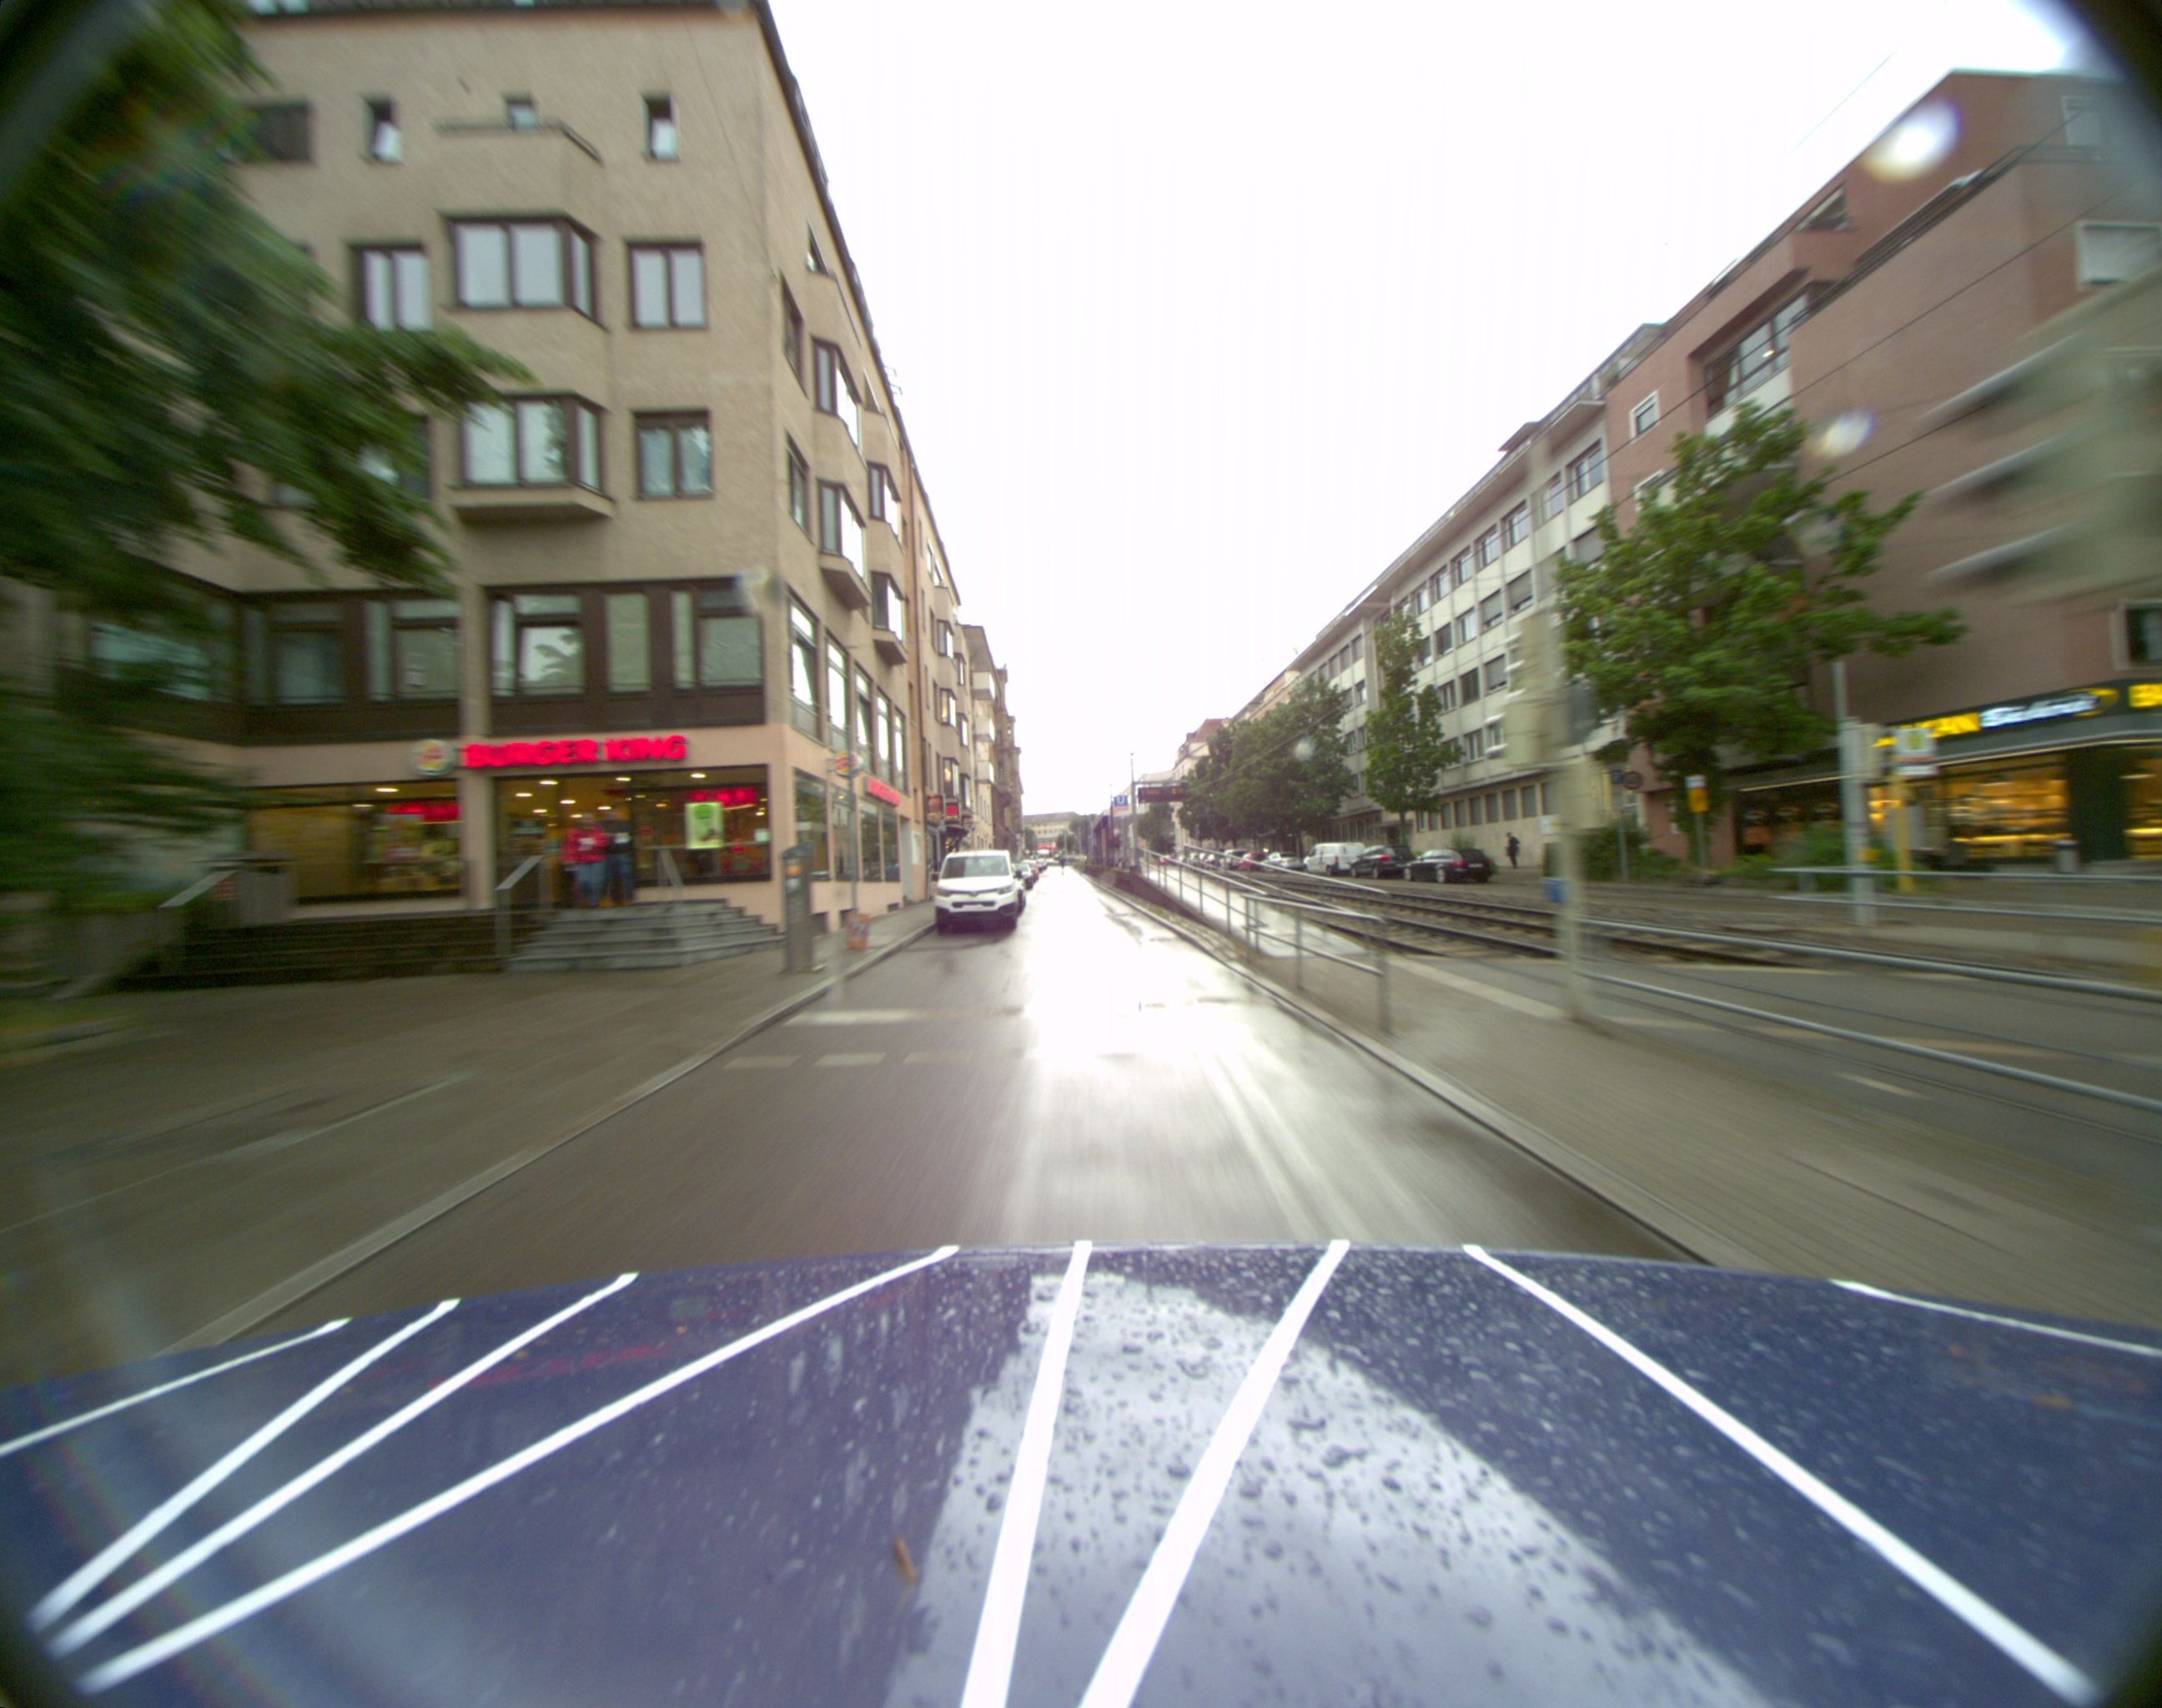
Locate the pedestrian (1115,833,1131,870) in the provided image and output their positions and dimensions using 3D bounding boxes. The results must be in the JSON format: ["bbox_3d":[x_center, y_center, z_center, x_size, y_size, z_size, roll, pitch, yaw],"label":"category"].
[{"bbox_3d":[1.885,-0.115,33.951,0.585,1.600,0.700,-2,1,-4],"label":"pedestrian"}]

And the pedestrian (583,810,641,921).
[{"bbox_3d":[-7.939,0.194,12.862,0.665,1.809,0.597,-1,1,39],"label":"pedestrian"}]

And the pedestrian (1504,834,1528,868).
[{"bbox_3d":[20.137,-0.158,35.184,0.701,1.548,0.585,-2,1,-8],"label":"pedestrian"}]

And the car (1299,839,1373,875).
[{"bbox_3d":[14.247,0.153,42.790,1.913,1.834,5.255,-2,0,-6],"label":"car"}]

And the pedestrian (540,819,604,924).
[{"bbox_3d":[-8.243,0.269,12.302,0.723,1.640,0.627,-1,1,39],"label":"pedestrian"}]

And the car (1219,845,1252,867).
[{"bbox_3d":[13.322,0.187,65.872,1.678,1.806,4.431,-2,0,-3],"label":"car"}]

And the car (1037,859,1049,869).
[{"bbox_3d":[-5.154,1.336,102.160,1.588,1.343,3.976,-2,0,-3],"label":"car"}]

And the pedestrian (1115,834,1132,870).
[{"bbox_3d":[1.860,-0.090,33.240,0.585,1.548,0.700,-2,1,-4],"label":"pedestrian"}]

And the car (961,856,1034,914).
[{"bbox_3d":[-2.584,0.915,24.426,1.911,1.606,4.412,-2,0,-1],"label":"car"}]

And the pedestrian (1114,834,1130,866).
[{"bbox_3d":[2.159,-0.211,40.322,0.713,1.684,0.700,-2,1,-4],"label":"pedestrian"}]

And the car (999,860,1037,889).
[{"bbox_3d":[-3.441,1.087,42.071,1.912,1.453,4.244,-2,0,-2],"label":"car"}]

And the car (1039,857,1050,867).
[{"bbox_3d":[-5.610,1.249,116.991,1.588,1.442,3.977,-2,0,-2],"label":"car"}]

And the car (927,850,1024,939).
[{"bbox_3d":[-2.409,0.845,18.408,1.912,1.796,4.775,-2,0,-4],"label":"car"}]

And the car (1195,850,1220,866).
[{"bbox_3d":[12.691,0.384,76.501,1.643,1.529,4.021,-2,0,-2],"label":"car"}]

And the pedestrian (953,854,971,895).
[{"bbox_3d":[-4.985,0.863,31.869,0.612,1.704,0.581,-2,1,-1],"label":"pedestrian"}]

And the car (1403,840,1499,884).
[{"bbox_3d":[14.831,0.296,30.745,1.643,1.614,4.370,-2,0,-1],"label":"car"}]

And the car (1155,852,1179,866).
[{"bbox_3d":[9.473,0.555,83.808,1.697,1.453,4.528,-2,0,-5],"label":"car"}]

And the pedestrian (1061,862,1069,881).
[{"bbox_3d":[-1.563,1.675,72.260,0.653,1.752,0.882,-2,1,-6],"label":"pedestrian"}]

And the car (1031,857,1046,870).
[{"bbox_3d":[-4.762,1.085,84.881,1.628,1.343,3.828,-2,0,-3],"label":"car"}]

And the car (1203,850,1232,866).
[{"bbox_3d":[12.826,0.338,71.642,1.643,1.432,4.728,-2,0,-3],"label":"car"}]

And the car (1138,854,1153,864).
[{"bbox_3d":[9.202,0.663,108.978,1.643,1.330,3.734,-2,0,-3],"label":"car"}]

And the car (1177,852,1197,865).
[{"bbox_3d":[12.371,0.483,88.814,1.718,1.367,4.456,-2,0,-1],"label":"car"}]

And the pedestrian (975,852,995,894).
[{"bbox_3d":[-4.166,0.811,33.006,0.758,1.808,0.588,-2,1,-1],"label":"pedestrian"}]

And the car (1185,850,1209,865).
[{"bbox_3d":[12.635,0.355,83.004,1.662,1.575,4.337,-2,0,-3],"label":"car"}]

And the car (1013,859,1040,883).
[{"bbox_3d":[-3.671,1.116,51.521,1.650,1.453,3.413,-2,0,-2],"label":"car"}]

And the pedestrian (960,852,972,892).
[{"bbox_3d":[-5.390,0.853,35.617,0.530,1.848,0.556,-2,1,-9],"label":"pedestrian"}]

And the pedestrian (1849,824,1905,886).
[{"bbox_3d":[20.862,0.022,19.927,0.560,1.586,0.818,-2,0,0],"label":"pedestrian"}]

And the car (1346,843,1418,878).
[{"bbox_3d":[14.501,0.307,36.845,1.643,1.527,4.370,-2,0,-1],"label":"car"}]

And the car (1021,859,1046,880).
[{"bbox_3d":[-3.546,1.144,57.598,1.721,1.453,3.444,-2,0,-2],"label":"car"}]

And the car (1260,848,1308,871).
[{"bbox_3d":[13.800,0.359,51.967,1.697,1.453,4.528,-2,0,-5],"label":"car"}]

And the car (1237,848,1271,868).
[{"bbox_3d":[13.663,0.297,60.259,1.643,1.530,3.802,-2,0,-3],"label":"car"}]
